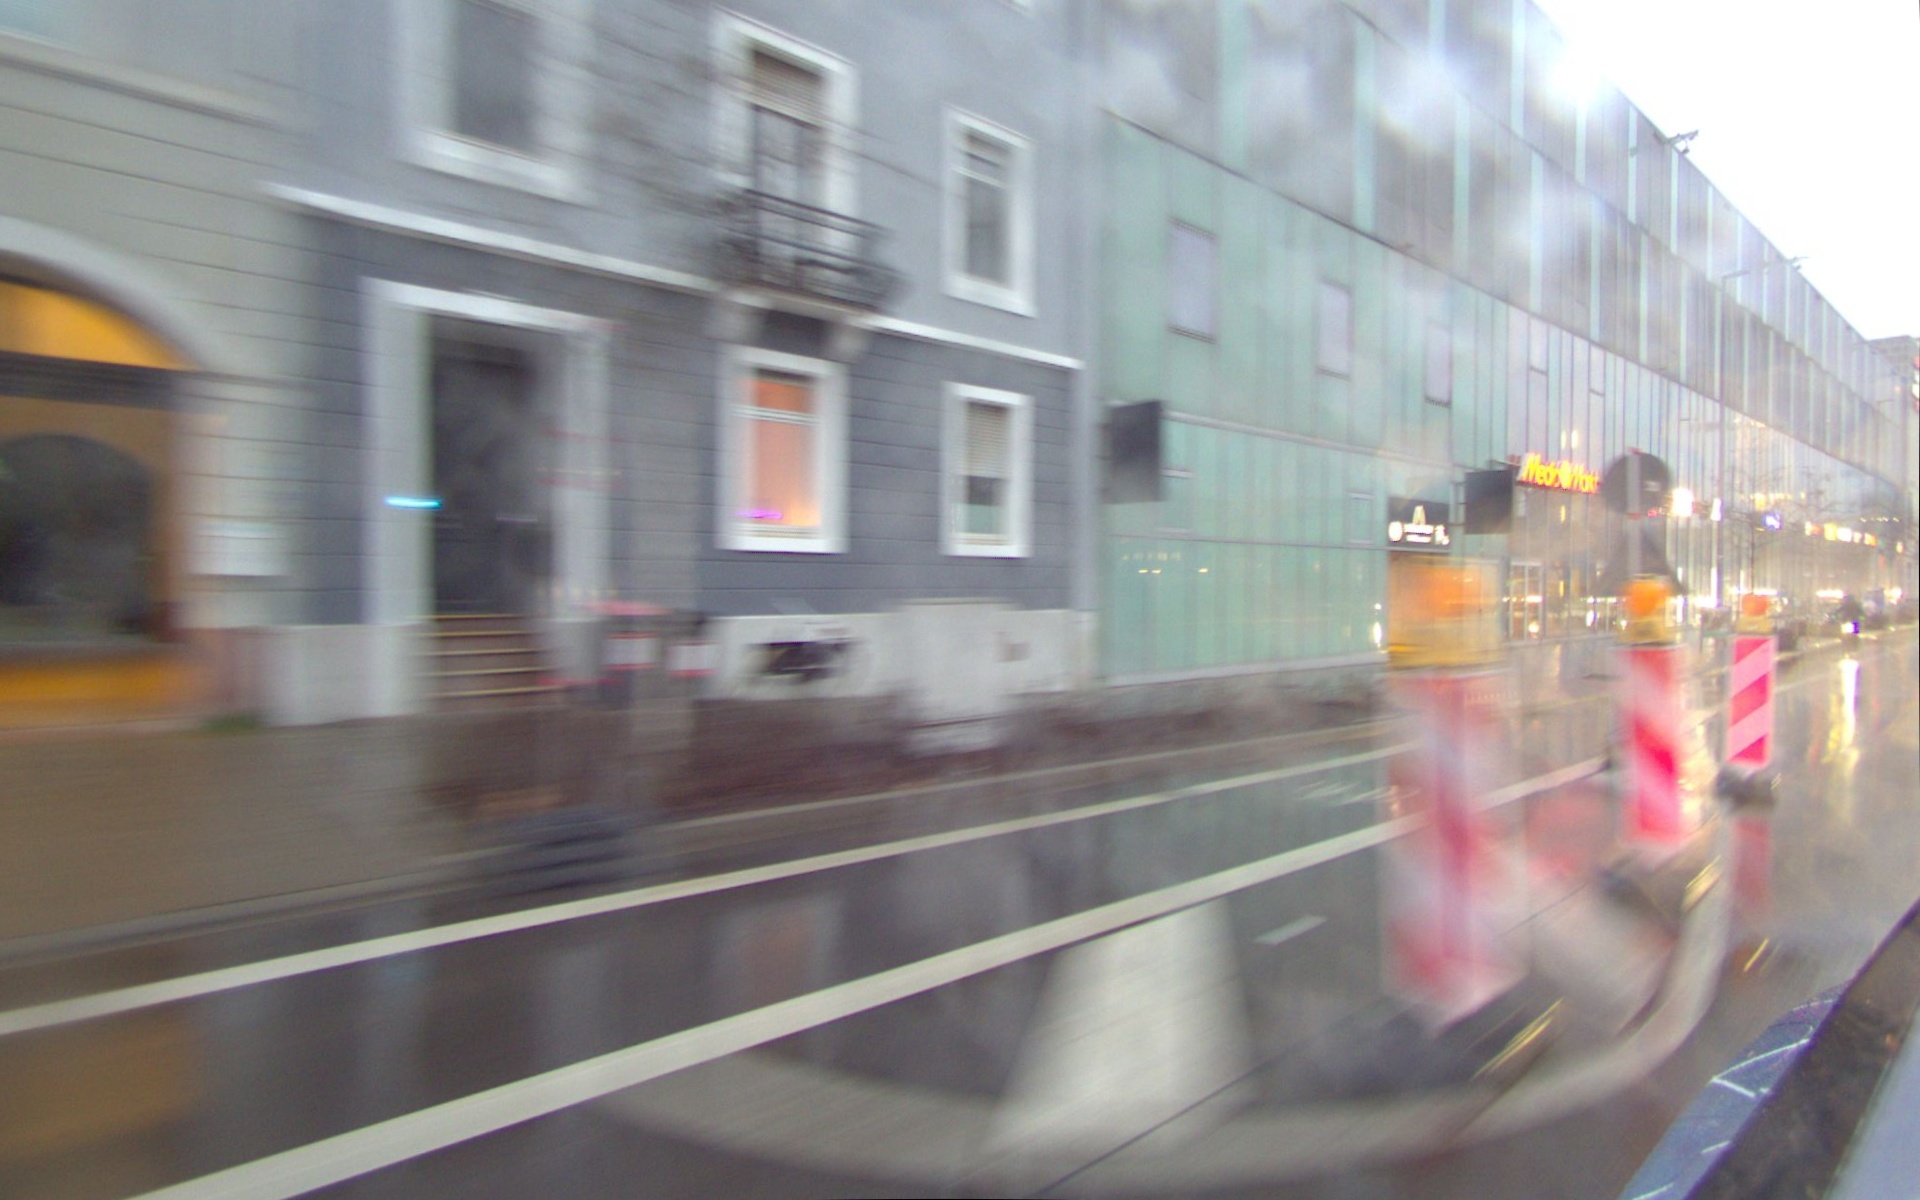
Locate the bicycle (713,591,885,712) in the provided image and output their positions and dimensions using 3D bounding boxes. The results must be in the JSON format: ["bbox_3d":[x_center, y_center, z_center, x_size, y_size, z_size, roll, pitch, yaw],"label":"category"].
[{"bbox_3d":[-1.825,0.544,11.657,1.873,1.237,0.684,-1,4,-42],"label":"bicycle"}]

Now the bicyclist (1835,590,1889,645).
[{"bbox_3d":[24.780,0.467,27.800,1.047,1.481,0.945,0,0,-39],"label":"bicyclist"}]

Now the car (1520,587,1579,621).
[{"bbox_3d":[31.782,0.199,54.506,3.932,1.753,1.673,0,0,-42],"label":"car"}]

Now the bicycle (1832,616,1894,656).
[{"bbox_3d":[24.815,0.973,27.804,2.200,1.012,0.945,0,0,-40],"label":"bicycle"}]
